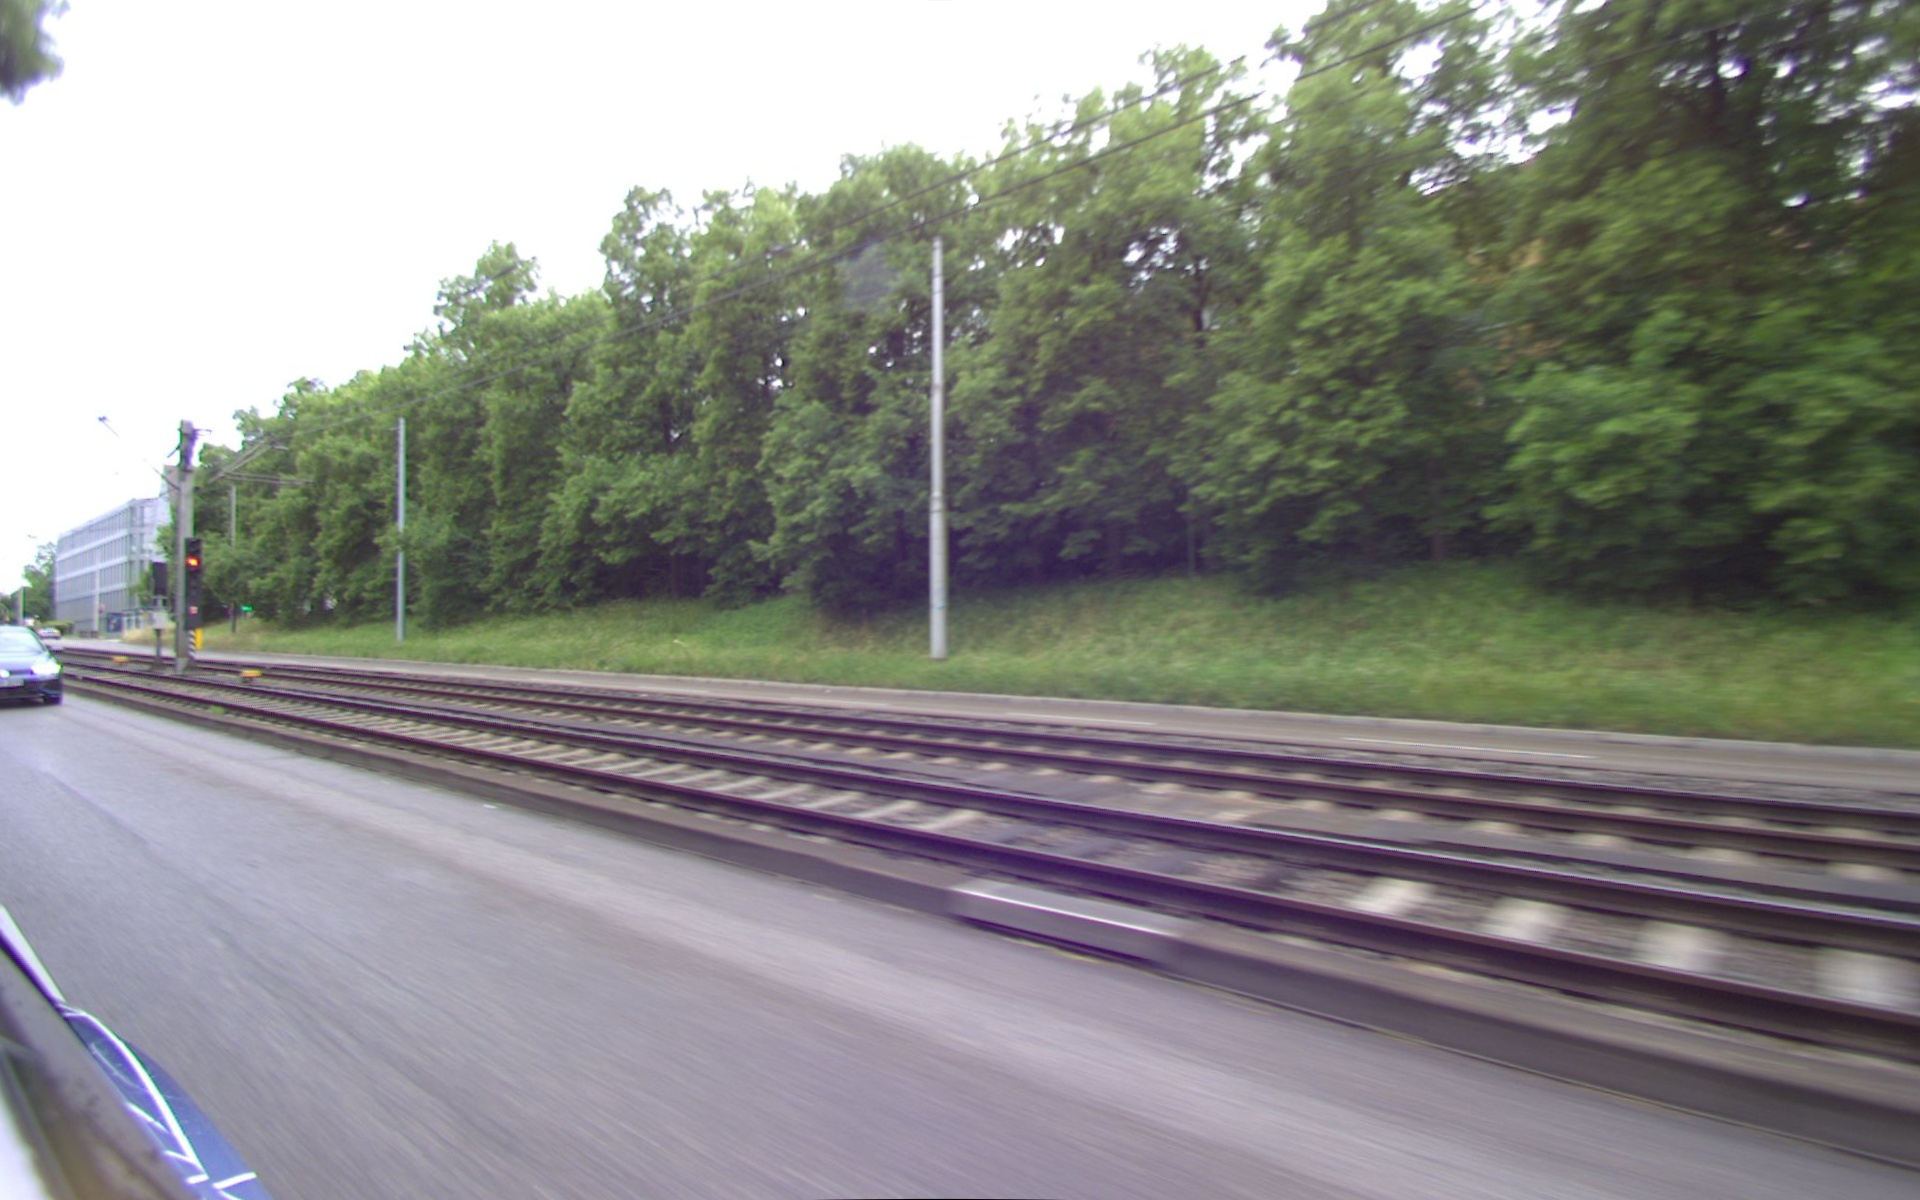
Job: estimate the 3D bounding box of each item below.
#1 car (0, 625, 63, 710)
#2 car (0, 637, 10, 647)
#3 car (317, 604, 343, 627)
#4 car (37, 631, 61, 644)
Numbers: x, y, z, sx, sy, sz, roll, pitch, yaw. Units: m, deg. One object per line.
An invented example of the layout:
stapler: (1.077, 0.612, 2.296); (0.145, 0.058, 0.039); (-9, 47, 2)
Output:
car: (-18.030, 1.204, 18.678); (3.831, 1.459, 1.747); (-2, -2, 41)
car: (-146.856, 6.372, 154.882); (4.379, 1.541, 1.635); (-2, -3, 42)
car: (-58.163, 1.468, 93.400); (1.934, 2.029, 4.228); (1, -2, -33)
car: (-98.442, 4.046, 109.351); (3.908, 1.447, 1.460); (-2, -4, 42)
